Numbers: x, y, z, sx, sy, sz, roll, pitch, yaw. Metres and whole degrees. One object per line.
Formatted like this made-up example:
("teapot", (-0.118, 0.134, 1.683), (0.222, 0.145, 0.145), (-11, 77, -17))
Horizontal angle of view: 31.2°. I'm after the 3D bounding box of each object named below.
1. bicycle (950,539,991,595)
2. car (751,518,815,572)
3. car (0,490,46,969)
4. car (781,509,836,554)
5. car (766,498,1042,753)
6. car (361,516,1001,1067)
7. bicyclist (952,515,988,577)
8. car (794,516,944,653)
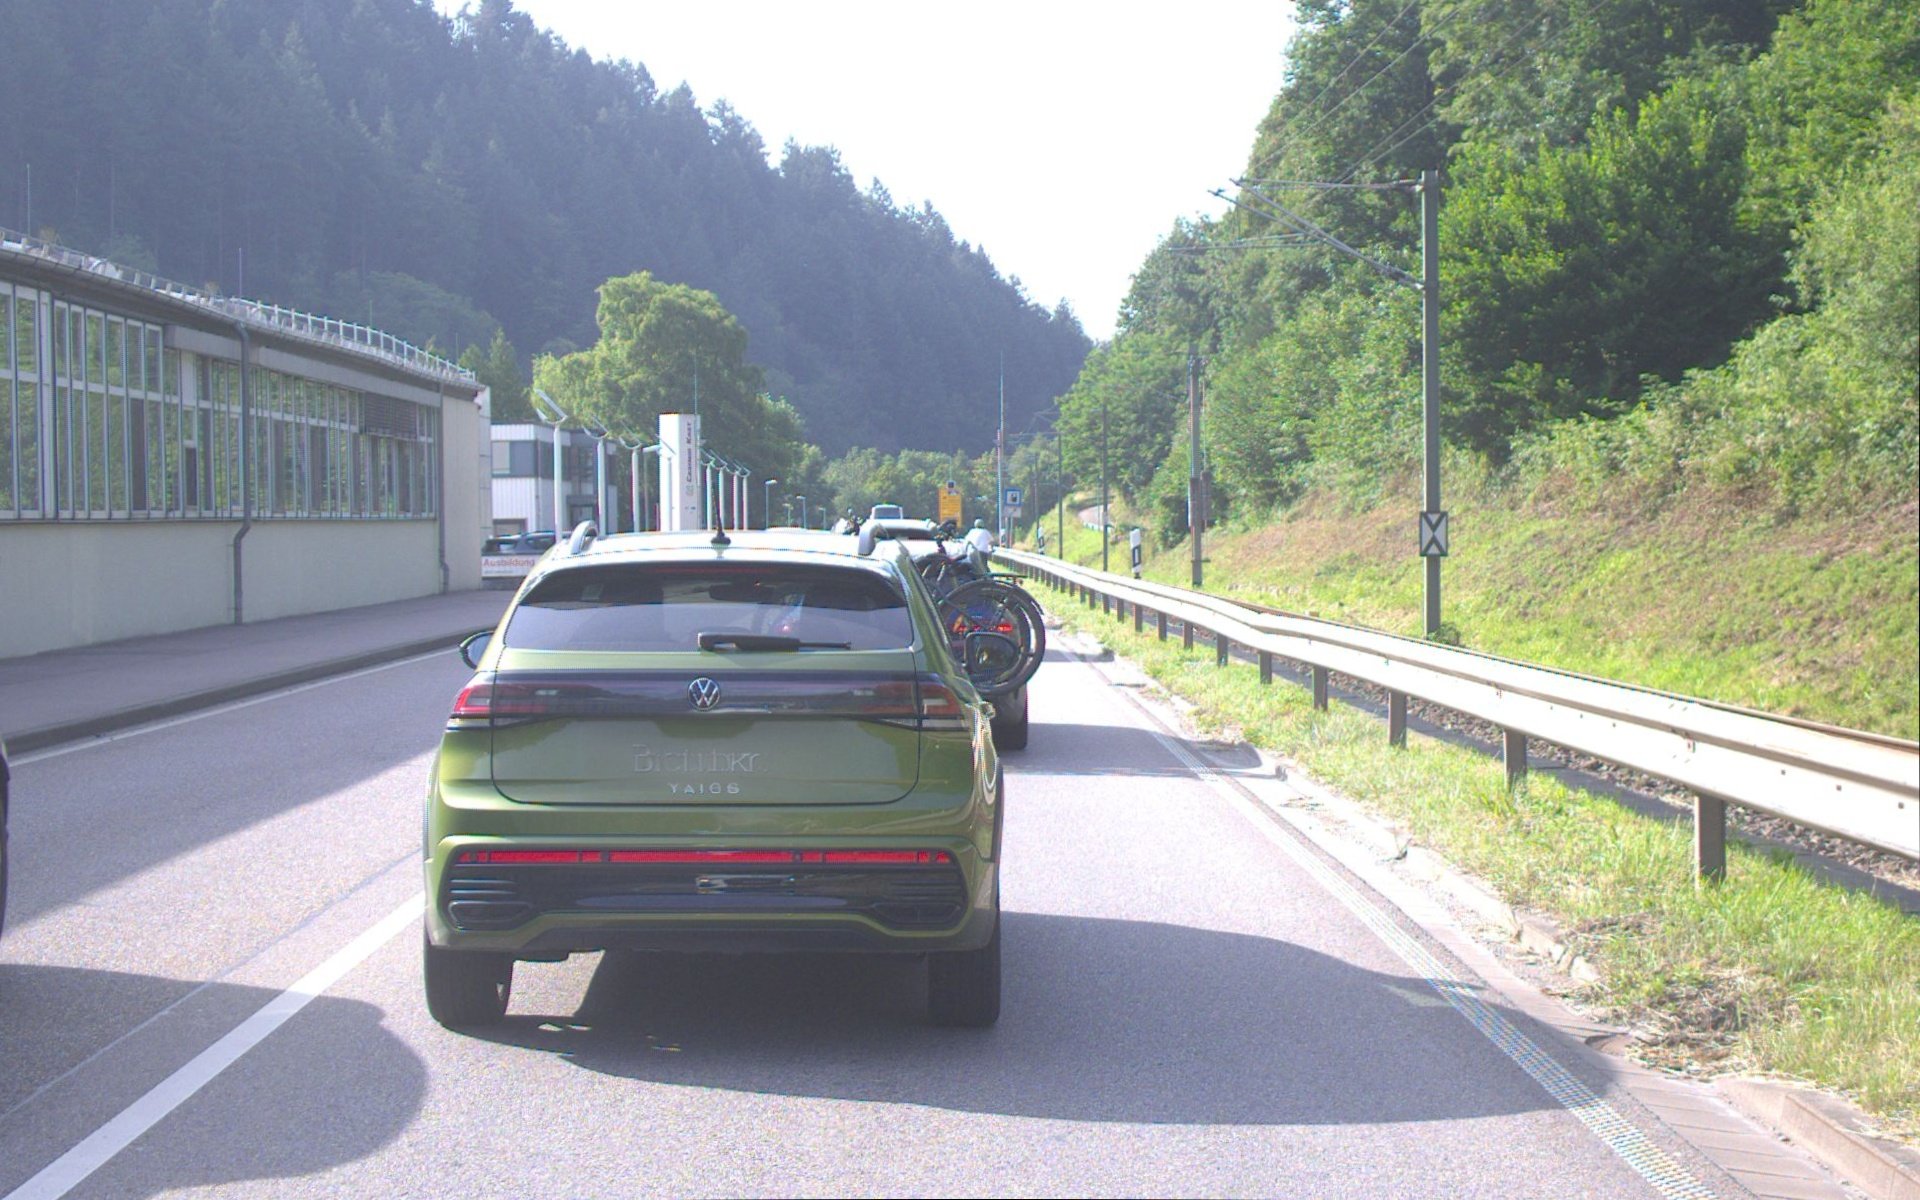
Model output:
("bicycle", (0.231, -0.759, 78.108), (0.811, 1.246, 2.123), (0, 1, -3))
("car", (-5.201, -1.629, 101.355), (1.719, 1.509, 4.199), (1, 1, -1))
("car", (-4.080, 0.439, 9.503), (1.930, 1.576, 4.458), (2, 1, -1))
("car", (-5.290, -2.404, 120.202), (1.773, 1.485, 4.052), (1, 1, -1))
("car", (-0.411, 0.120, 23.788), (1.739, 1.596, 4.000), (1, 1, -2))
("car", (-0.817, 0.483, 11.390), (1.739, 1.503, 4.000), (0, 1, -2))
("bicyclist", (0.232, -1.219, 77.929), (0.781, 1.407, 0.675), (0, 1, -3))
("car", (-1.124, -0.224, 42.297), (1.739, 1.596, 4.000), (1, 1, -2))
